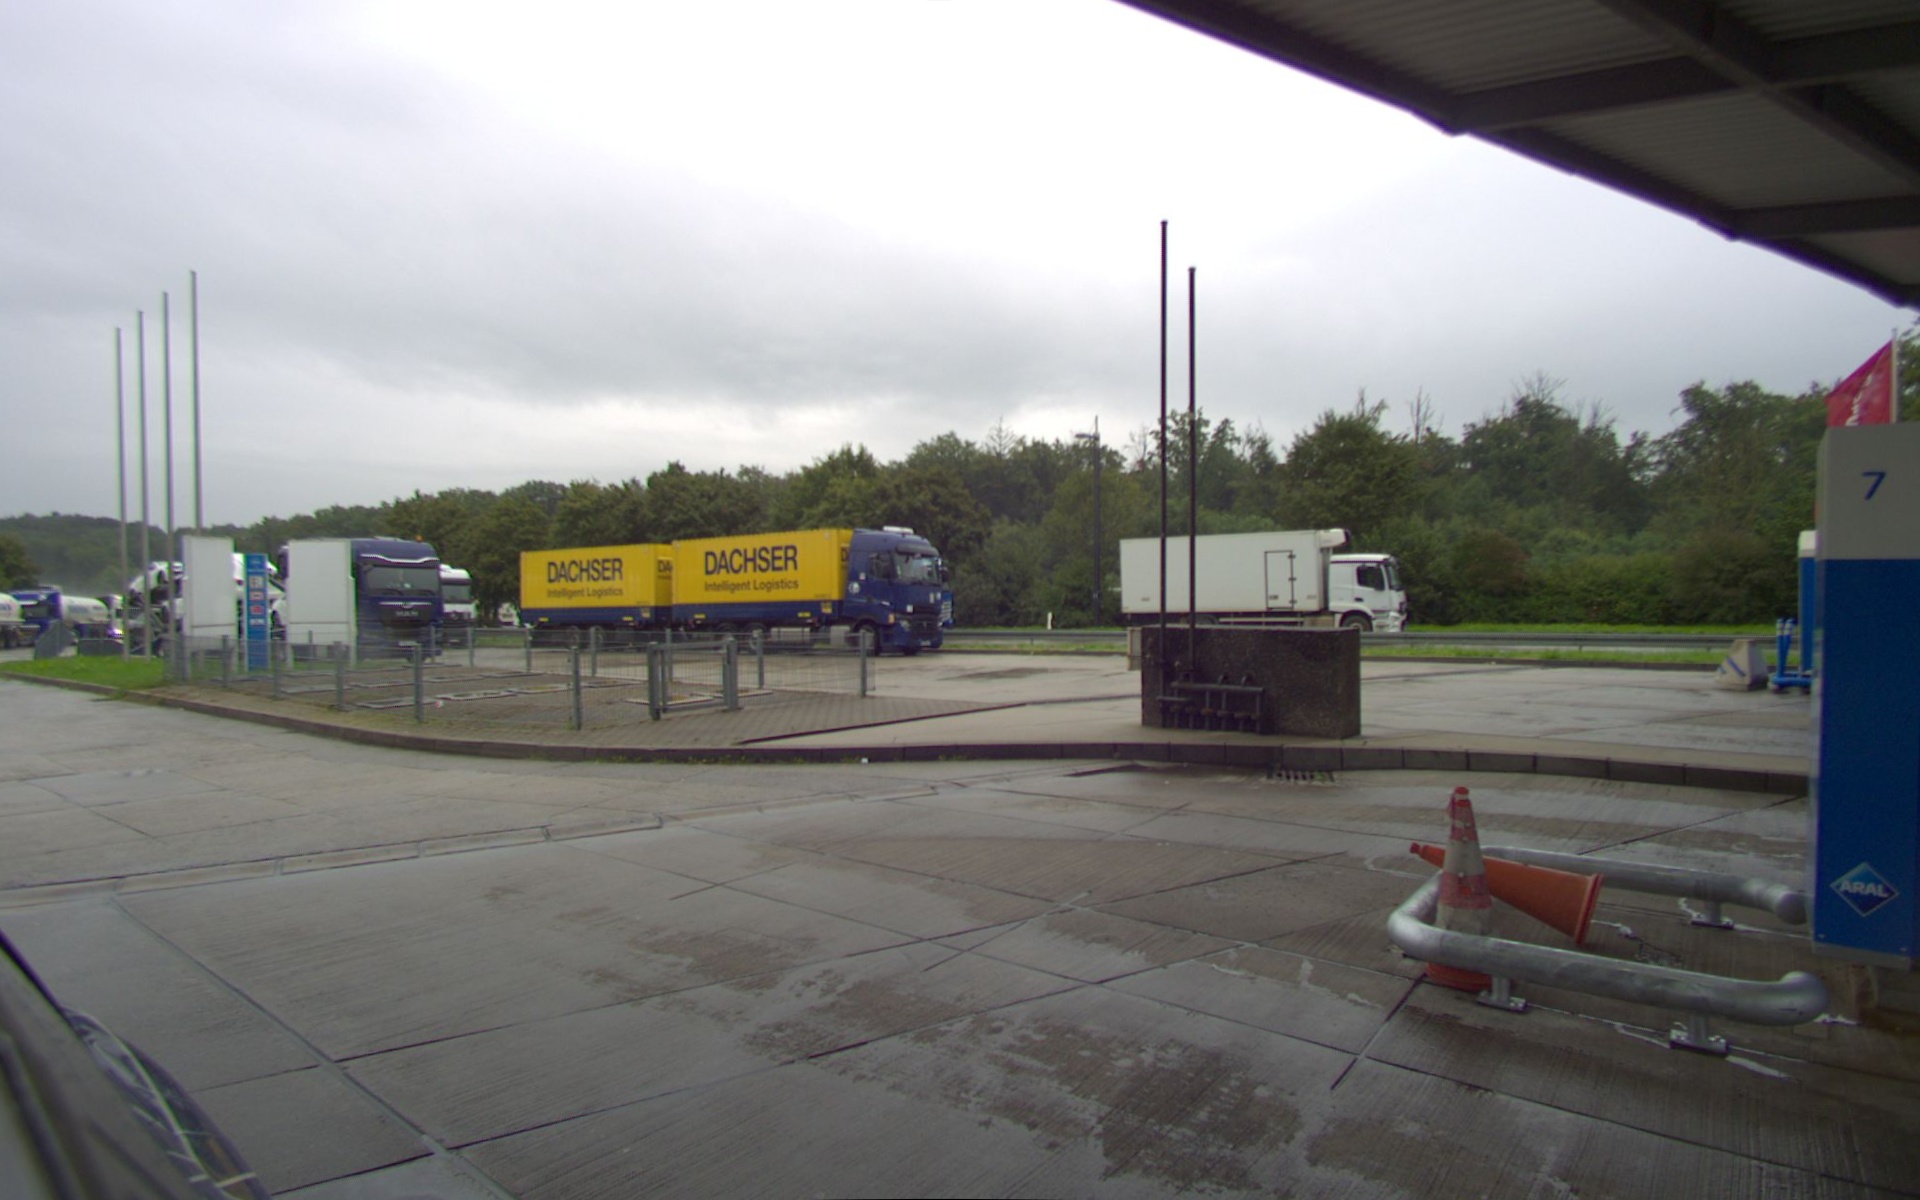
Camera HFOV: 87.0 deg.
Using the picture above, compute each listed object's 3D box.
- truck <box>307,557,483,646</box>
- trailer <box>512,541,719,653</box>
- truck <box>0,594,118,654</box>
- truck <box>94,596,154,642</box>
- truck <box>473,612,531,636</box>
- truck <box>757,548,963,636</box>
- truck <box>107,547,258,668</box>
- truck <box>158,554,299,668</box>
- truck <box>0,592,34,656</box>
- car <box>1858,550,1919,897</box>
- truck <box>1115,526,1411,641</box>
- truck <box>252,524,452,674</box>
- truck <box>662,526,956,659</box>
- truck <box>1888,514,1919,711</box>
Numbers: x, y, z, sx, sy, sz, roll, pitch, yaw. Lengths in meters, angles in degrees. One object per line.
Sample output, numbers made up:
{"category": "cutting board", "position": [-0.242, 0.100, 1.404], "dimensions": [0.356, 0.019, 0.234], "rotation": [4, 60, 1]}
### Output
{"category": "truck", "position": [-27.306, 0.109, 48.618], "dimensions": [10.654, 3.946, 2.727], "rotation": [-1, 0, 33]}
{"category": "trailer", "position": [-13.487, -0.068, 39.247], "dimensions": [8.679, 3.946, 2.728], "rotation": [-1, 0, 32]}
{"category": "truck", "position": [-61.481, 1.626, 68.648], "dimensions": [3.454, 3.633, 14.709], "rotation": [-1, -1, -27]}
{"category": "truck", "position": [-79.837, 1.777, 96.569], "dimensions": [11.525, 4.160, 3.101], "rotation": [-1, 0, 44]}
{"category": "truck", "position": [-42.953, 2.244, 94.840], "dimensions": [5.810, 2.140, 2.061], "rotation": [-1, 0, 31]}
{"category": "truck", "position": [-4.866, -0.306, 47.632], "dimensions": [10.195, 3.836, 2.395], "rotation": [-1, 0, 31]}
{"category": "truck", "position": [-29.577, 0.302, 38.437], "dimensions": [6.605, 4.213, 2.635], "rotation": [-1, 0, 35]}
{"category": "truck", "position": [-26.095, 0.399, 36.063], "dimensions": [4.738, 3.800, 2.635], "rotation": [-1, 0, 34]}
{"category": "truck", "position": [-55.143, 1.341, 53.680], "dimensions": [3.454, 3.633, 14.444], "rotation": [-1, -1, -19]}
{"category": "car", "position": [6.920, 0.545, 3.787], "dimensions": [5.269, 1.620, 1.842], "rotation": [-1, 0, 41]}
{"category": "truck", "position": [10.981, -0.509, 37.436], "dimensions": [10.195, 3.836, 2.395], "rotation": [-1, 0, 31]}
{"category": "truck", "position": [-18.997, 0.015, 31.467], "dimensions": [7.089, 4.213, 2.635], "rotation": [-1, 0, 35]}
{"category": "truck", "position": [-5.325, -0.172, 34.017], "dimensions": [10.654, 3.946, 2.727], "rotation": [-1, 0, 33]}
{"category": "truck", "position": [15.003, 0.130, 11.942], "dimensions": [5.859, 2.513, 2.208], "rotation": [-1, 0, 41]}
